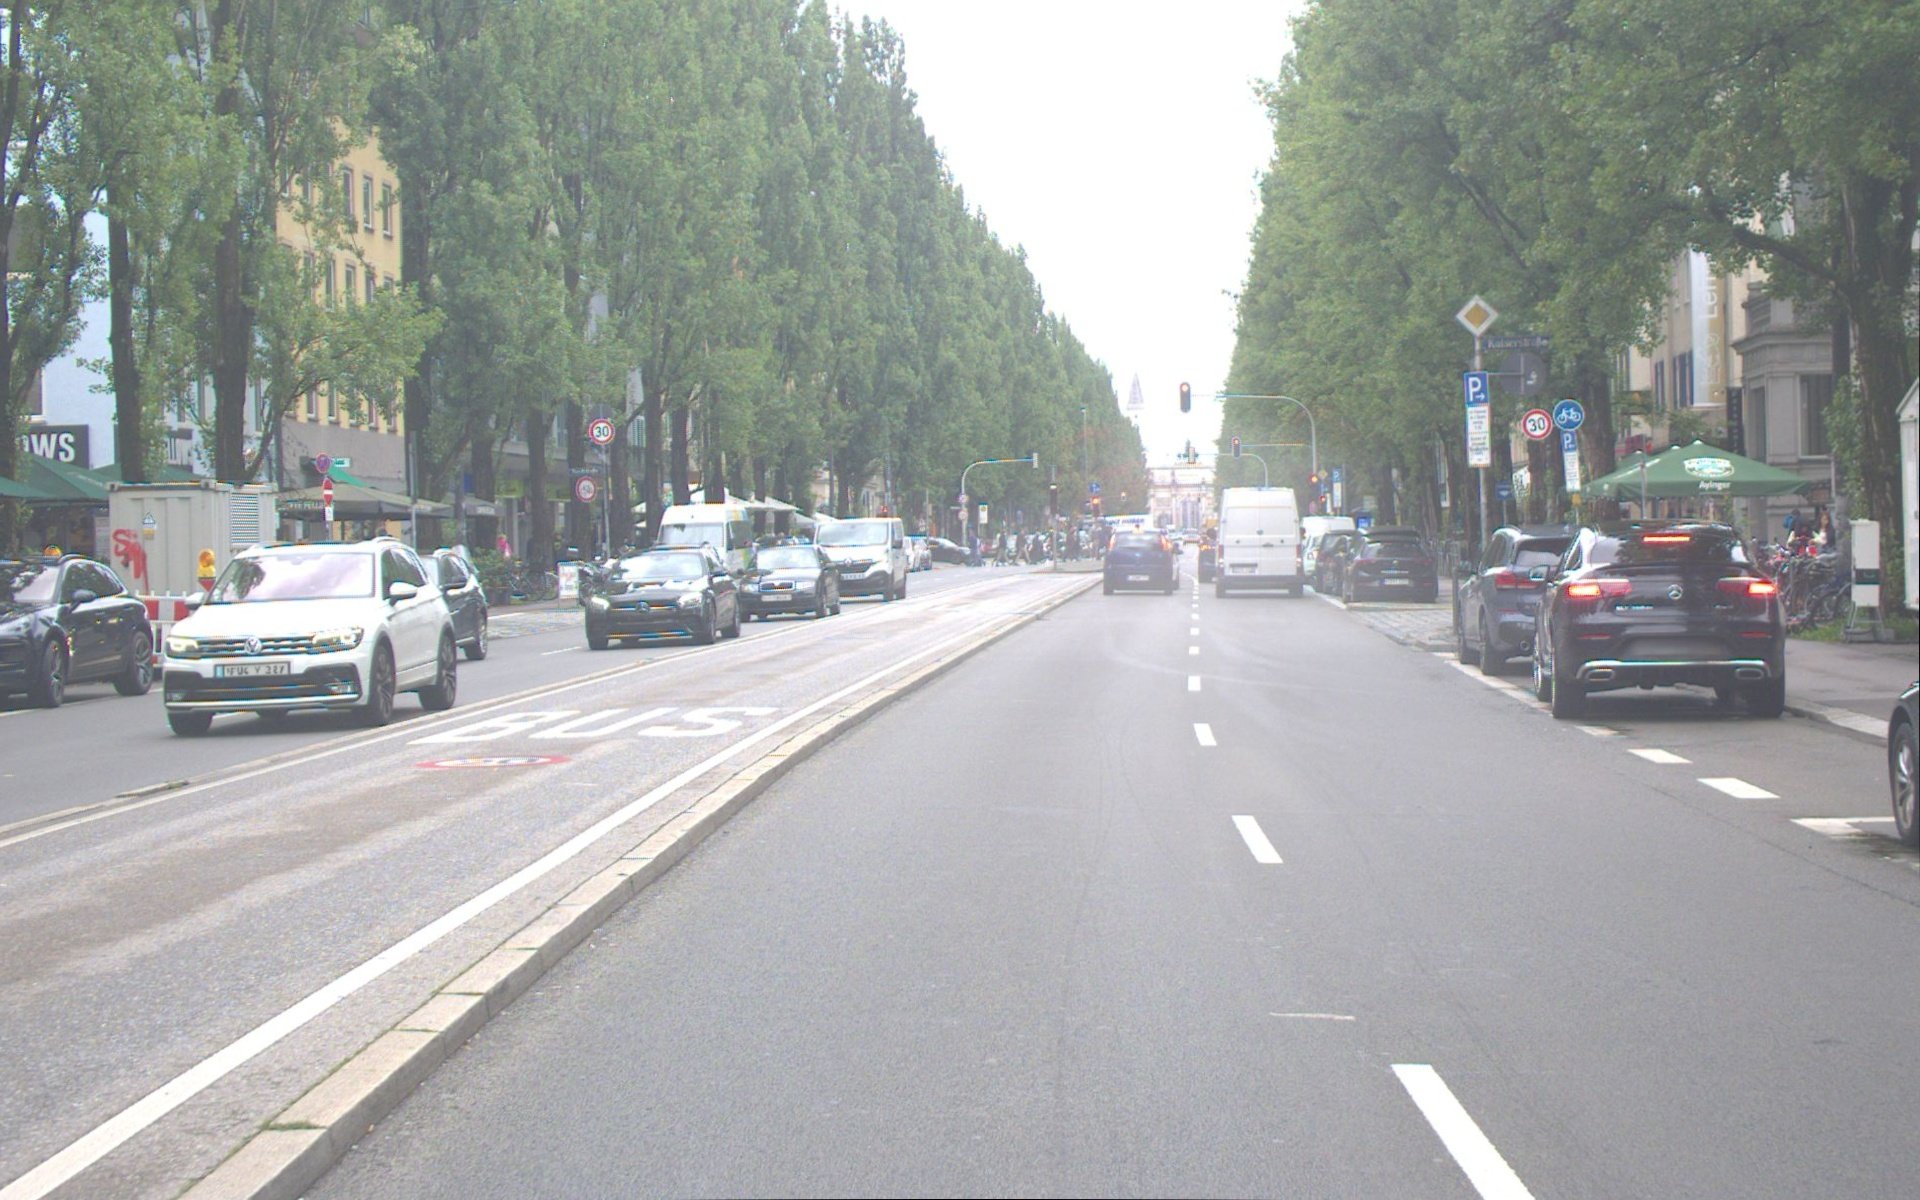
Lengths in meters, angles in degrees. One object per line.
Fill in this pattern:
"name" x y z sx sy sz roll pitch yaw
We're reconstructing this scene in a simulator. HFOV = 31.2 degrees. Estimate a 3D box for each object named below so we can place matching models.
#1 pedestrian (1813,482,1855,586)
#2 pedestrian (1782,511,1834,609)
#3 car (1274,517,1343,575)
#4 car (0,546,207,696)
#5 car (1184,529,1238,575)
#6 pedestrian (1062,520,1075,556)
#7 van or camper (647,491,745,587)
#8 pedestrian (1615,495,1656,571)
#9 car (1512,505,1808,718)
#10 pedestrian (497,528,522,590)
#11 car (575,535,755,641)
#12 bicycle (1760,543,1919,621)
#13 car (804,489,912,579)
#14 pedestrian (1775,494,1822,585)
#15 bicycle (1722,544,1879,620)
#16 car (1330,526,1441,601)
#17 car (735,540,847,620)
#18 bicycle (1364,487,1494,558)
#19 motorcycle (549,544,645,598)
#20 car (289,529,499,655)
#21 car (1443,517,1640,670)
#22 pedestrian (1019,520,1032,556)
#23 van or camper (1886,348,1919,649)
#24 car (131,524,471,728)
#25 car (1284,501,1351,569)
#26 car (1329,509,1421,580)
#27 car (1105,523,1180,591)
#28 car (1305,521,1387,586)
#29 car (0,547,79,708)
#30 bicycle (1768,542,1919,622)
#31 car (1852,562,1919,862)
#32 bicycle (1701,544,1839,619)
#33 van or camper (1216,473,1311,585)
"pedestrian" 15.814 -1.192 62.232 0.701 1.866 0.765 0 0 13
"pedestrian" 14.349 -0.677 58.161 0.669 1.645 0.625 0 1 31
"car" 9.878 -1.512 97.590 1.763 1.590 4.000 0 0 3
"car" -10.348 0.213 40.018 1.849 1.559 4.332 -1 2 5
"car" 7.391 -1.422 101.309 1.504 1.308 3.283 -1 1 3
"pedestrian" 5.199 -2.982 165.135 0.553 1.710 0.493 -2 1 5
"van or camper" -6.947 -1.631 90.970 1.994 2.450 4.251 -1 1 3
"pedestrian" 15.889 -1.586 80.904 0.813 1.749 0.933 -2 1 5
"car" 5.871 0.037 29.339 1.881 1.636 4.582 -1 1 4
"pedestrian" -13.554 -1.234 103.461 0.582 1.850 0.675 -1 1 3
"car" -4.397 -0.217 51.932 1.994 1.427 4.772 -2 1 3
"bicycle" 12.119 -0.255 47.279 2.053 1.020 0.691 -1 1 -7
"car" -2.341 -1.525 80.341 1.994 1.927 4.918 -3 0 3
"pedestrian" 17.212 -1.247 70.576 0.760 1.847 0.740 -1 1 1
"bicycle" 11.858 -0.265 48.498 2.053 1.020 0.691 -1 1 -15
"car" 8.788 -0.783 71.225 1.944 1.462 4.000 -1 1 3
"car" -3.173 -0.398 65.061 1.712 1.409 3.723 -1 1 3
"bicycle" 13.343 -2.197 97.724 3.551 2.007 1.296 0 0 13
"motorcycle" -8.197 -0.675 77.807 1.238 1.136 3.716 -1 1 9
"car" -7.524 -0.120 46.098 1.849 1.559 4.211 -1 0 4
"car" 6.365 -0.122 38.016 1.624 1.560 4.371 -1 1 3
"pedestrian" 3.152 -2.997 165.399 0.553 1.710 0.493 -2 1 5
"van or camper" 11.067 -1.050 34.598 2.460 3.101 4.715 -2 1 4
"car" -5.790 0.166 30.779 1.939 1.636 4.463 -2 1 3
"car" 10.749 -1.930 103.578 1.805 1.985 4.000 0 0 3
"car" 9.265 -1.256 76.939 1.785 1.519 3.940 -1 1 3
"car" 4.452 -1.037 83.529 1.759 1.614 3.746 0 0 4
"car" 9.641 -1.148 86.108 1.805 1.590 4.000 0 0 3
"car" -10.663 0.327 34.534 1.994 1.590 4.891 -2 1 4
"bicycle" 11.764 -0.243 45.496 2.054 1.020 0.691 -1 1 12
"car" 5.337 0.535 15.180 1.733 1.389 4.433 -2 1 2
"bicycle" 11.696 -0.274 49.625 2.053 1.020 0.691 -2 1 -32
"van or camper" 7.034 -1.619 80.015 2.035 2.467 3.999 -1 0 3
